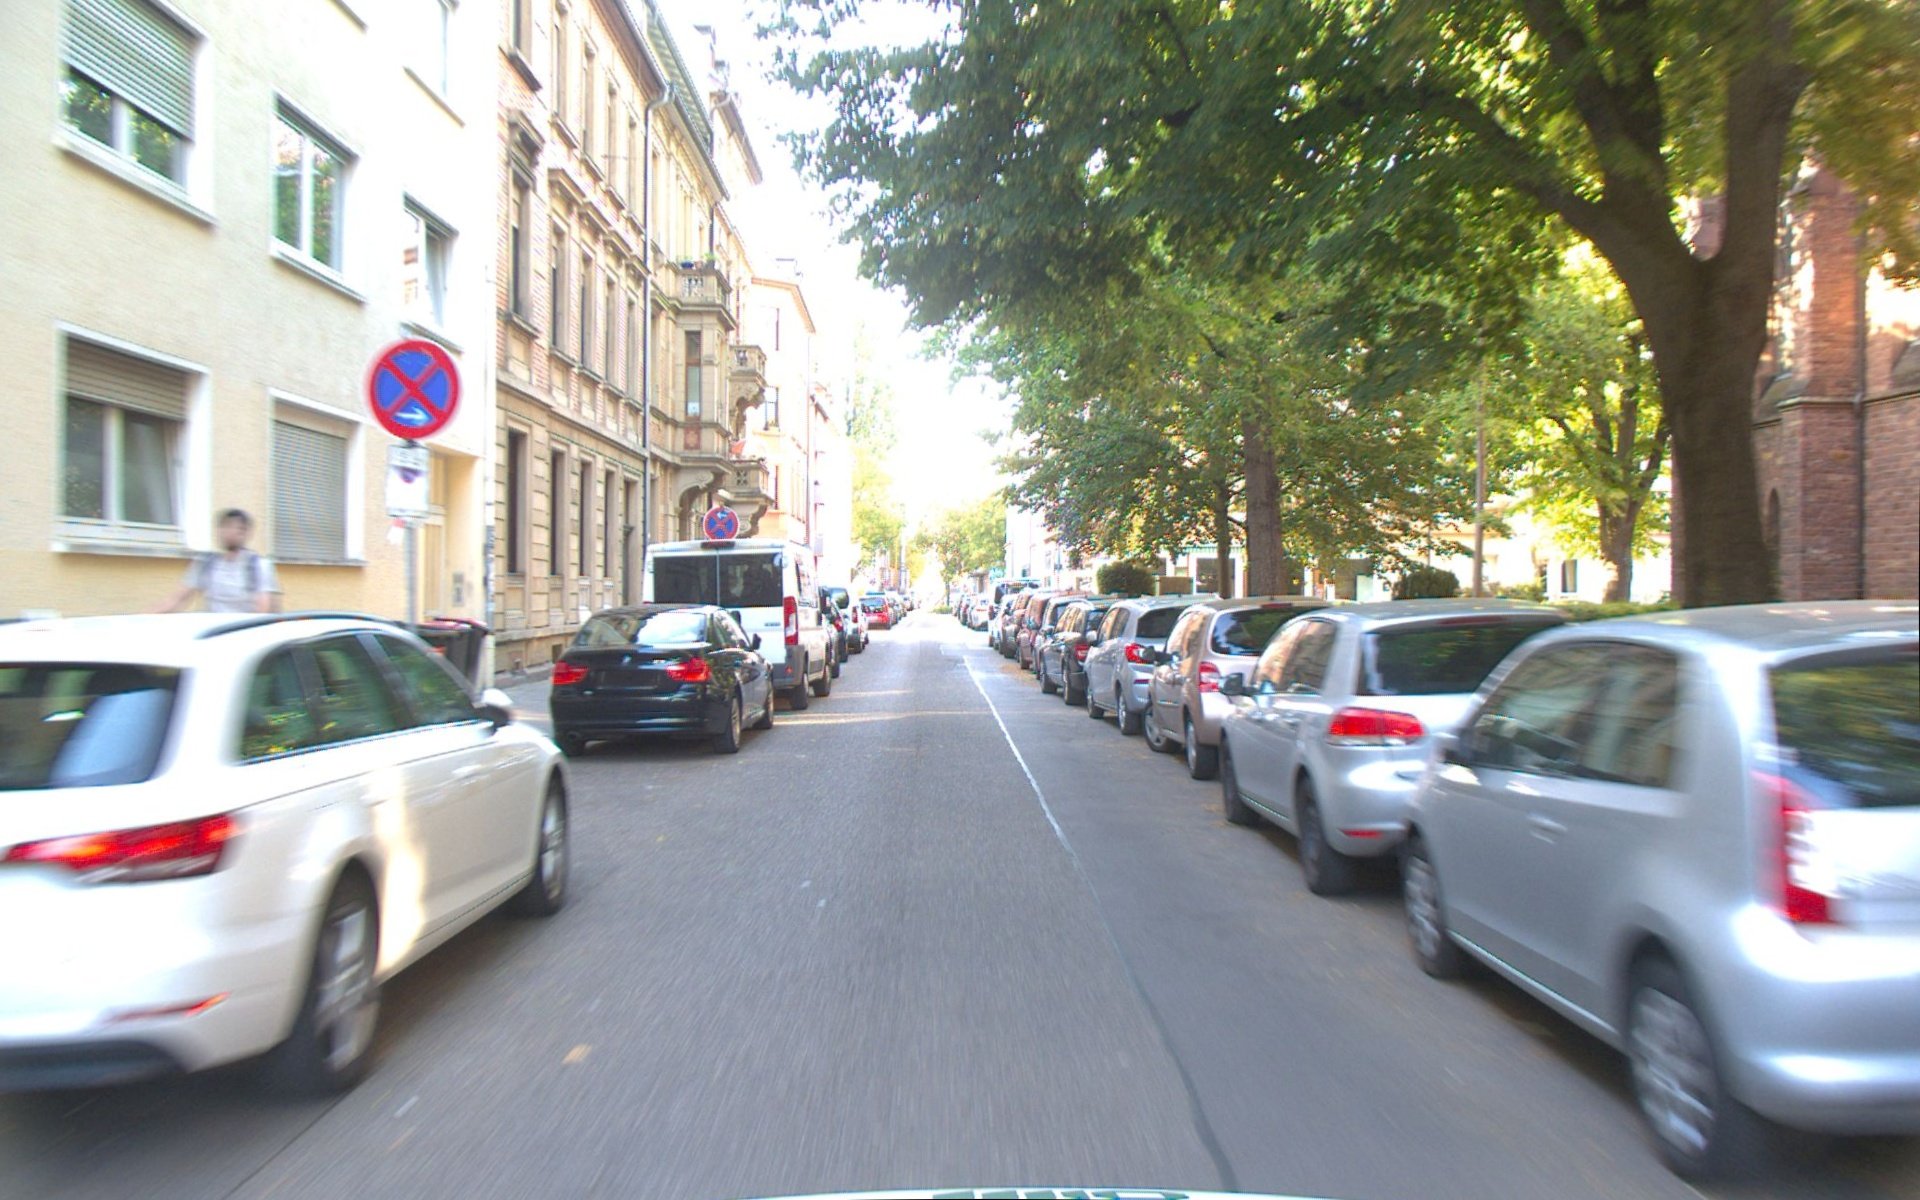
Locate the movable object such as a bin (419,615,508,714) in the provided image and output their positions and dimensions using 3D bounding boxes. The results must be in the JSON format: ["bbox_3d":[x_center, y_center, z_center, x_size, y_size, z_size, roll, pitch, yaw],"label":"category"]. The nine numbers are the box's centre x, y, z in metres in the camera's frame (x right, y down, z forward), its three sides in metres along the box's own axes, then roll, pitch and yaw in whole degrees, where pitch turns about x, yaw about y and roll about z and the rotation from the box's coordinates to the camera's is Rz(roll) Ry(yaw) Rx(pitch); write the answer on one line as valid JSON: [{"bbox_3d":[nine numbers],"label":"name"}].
[{"bbox_3d":[-5.645,0.728,18.850,0.783,1.107,0.666,0,-1,3],"label":"movable object such as a bin"}]

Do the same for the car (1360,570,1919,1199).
[{"bbox_3d":[2.675,0.722,5.680,1.567,1.531,3.720,-5,0,-1],"label":"car"}]

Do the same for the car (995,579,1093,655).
[{"bbox_3d":[1.994,0.413,40.441,1.706,1.631,4.259,-5,0,-5],"label":"car"}]

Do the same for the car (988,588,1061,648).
[{"bbox_3d":[1.740,0.474,45.517,1.684,1.598,3.826,0,0,-3],"label":"car"}]

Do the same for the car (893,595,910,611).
[{"bbox_3d":[-5.718,0.251,161.825,1.642,1.513,4.093,-2,0,-2],"label":"car"}]

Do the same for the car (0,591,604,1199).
[{"bbox_3d":[-2.649,0.734,6.178,1.696,1.481,4.520,-2,0,-1],"label":"car"}]

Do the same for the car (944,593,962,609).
[{"bbox_3d":[-0.741,0.067,163.828,1.642,1.513,3.636,-2,0,-2],"label":"car"}]

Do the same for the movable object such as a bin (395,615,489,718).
[{"bbox_3d":[-5.665,0.717,18.126,0.783,1.107,0.666,0,-1,3],"label":"movable object such as a bin"}]

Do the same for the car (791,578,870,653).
[{"bbox_3d":[-3.411,0.384,44.266,1.794,1.843,4.571,-2,0,-1],"label":"car"}]

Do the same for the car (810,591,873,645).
[{"bbox_3d":[-3.514,0.516,49.645,1.658,1.507,3.972,-2,0,-2],"label":"car"}]

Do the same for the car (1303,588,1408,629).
[{"bbox_3d":[15.314,0.327,64.166,3.773,1.499,1.634,1,-2,6],"label":"car"}]

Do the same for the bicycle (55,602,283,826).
[{"bbox_3d":[-4.981,0.667,10.548,0.559,1.265,1.844,3,0,-2],"label":"bicycle"}]

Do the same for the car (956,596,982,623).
[{"bbox_3d":[0.586,0.626,110.104,1.641,1.711,4.094,-2,-1,0],"label":"car"}]

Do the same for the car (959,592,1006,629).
[{"bbox_3d":[0.952,0.450,72.974,1.709,1.533,4.354,-2,0,-4],"label":"car"}]

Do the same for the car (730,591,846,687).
[{"bbox_3d":[-3.009,0.637,29.653,1.731,1.540,4.192,-2,0,-2],"label":"car"}]

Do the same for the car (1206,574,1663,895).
[{"bbox_3d":[2.600,0.664,9.984,1.566,1.496,3.868,-2,0,-1],"label":"car"}]

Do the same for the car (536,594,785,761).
[{"bbox_3d":[-2.902,0.687,16.951,1.695,1.426,4.315,-2,0,0],"label":"car"}]

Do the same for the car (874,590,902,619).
[{"bbox_3d":[-4.651,0.274,107.670,1.729,1.816,4.038,-2,0,-2],"label":"car"}]

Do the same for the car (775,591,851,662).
[{"bbox_3d":[-3.449,0.594,39.377,1.659,1.540,3.970,-2,0,-4],"label":"car"}]

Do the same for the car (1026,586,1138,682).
[{"bbox_3d":[2.143,0.586,29.969,1.586,1.512,3.775,-5,0,-1],"label":"car"}]

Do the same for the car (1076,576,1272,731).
[{"bbox_3d":[2.426,0.587,19.560,1.568,1.531,3.625,-5,0,-3],"label":"car"}]

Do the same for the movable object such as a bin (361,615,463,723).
[{"bbox_3d":[-5.741,0.716,17.343,0.819,1.107,0.675,0,-1,2],"label":"movable object such as a bin"}]

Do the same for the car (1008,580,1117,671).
[{"bbox_3d":[2.063,0.515,34.257,1.588,1.652,3.859,-5,0,-5],"label":"car"}]

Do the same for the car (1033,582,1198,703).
[{"bbox_3d":[2.172,0.584,24.269,1.642,1.466,4.692,-5,0,-3],"label":"car"}]

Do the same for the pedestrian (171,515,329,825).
[{"bbox_3d":[-4.461,0.415,10.454,0.478,1.834,1.114,2,0,-2],"label":"pedestrian"}]

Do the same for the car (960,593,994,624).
[{"bbox_3d":[0.886,0.430,88.147,1.642,1.533,3.936,-2,0,-2],"label":"car"}]

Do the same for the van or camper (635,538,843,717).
[{"bbox_3d":[-2.957,0.330,23.350,2.132,2.185,5.154,-2,0,0],"label":"van or camper"}]

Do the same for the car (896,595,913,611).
[{"bbox_3d":[-5.605,0.256,166.987,1.642,1.513,4.093,-2,0,-2],"label":"car"}]

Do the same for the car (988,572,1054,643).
[{"bbox_3d":[1.816,0.207,50.806,1.875,2.033,4.792,-2,0,1],"label":"car"}]

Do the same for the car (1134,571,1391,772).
[{"bbox_3d":[2.625,0.586,15.104,1.567,1.493,3.563,-5,0,-1],"label":"car"}]

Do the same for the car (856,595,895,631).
[{"bbox_3d":[-3.716,0.555,73.347,1.595,1.507,3.600,-2,0,-2],"label":"car"}]
